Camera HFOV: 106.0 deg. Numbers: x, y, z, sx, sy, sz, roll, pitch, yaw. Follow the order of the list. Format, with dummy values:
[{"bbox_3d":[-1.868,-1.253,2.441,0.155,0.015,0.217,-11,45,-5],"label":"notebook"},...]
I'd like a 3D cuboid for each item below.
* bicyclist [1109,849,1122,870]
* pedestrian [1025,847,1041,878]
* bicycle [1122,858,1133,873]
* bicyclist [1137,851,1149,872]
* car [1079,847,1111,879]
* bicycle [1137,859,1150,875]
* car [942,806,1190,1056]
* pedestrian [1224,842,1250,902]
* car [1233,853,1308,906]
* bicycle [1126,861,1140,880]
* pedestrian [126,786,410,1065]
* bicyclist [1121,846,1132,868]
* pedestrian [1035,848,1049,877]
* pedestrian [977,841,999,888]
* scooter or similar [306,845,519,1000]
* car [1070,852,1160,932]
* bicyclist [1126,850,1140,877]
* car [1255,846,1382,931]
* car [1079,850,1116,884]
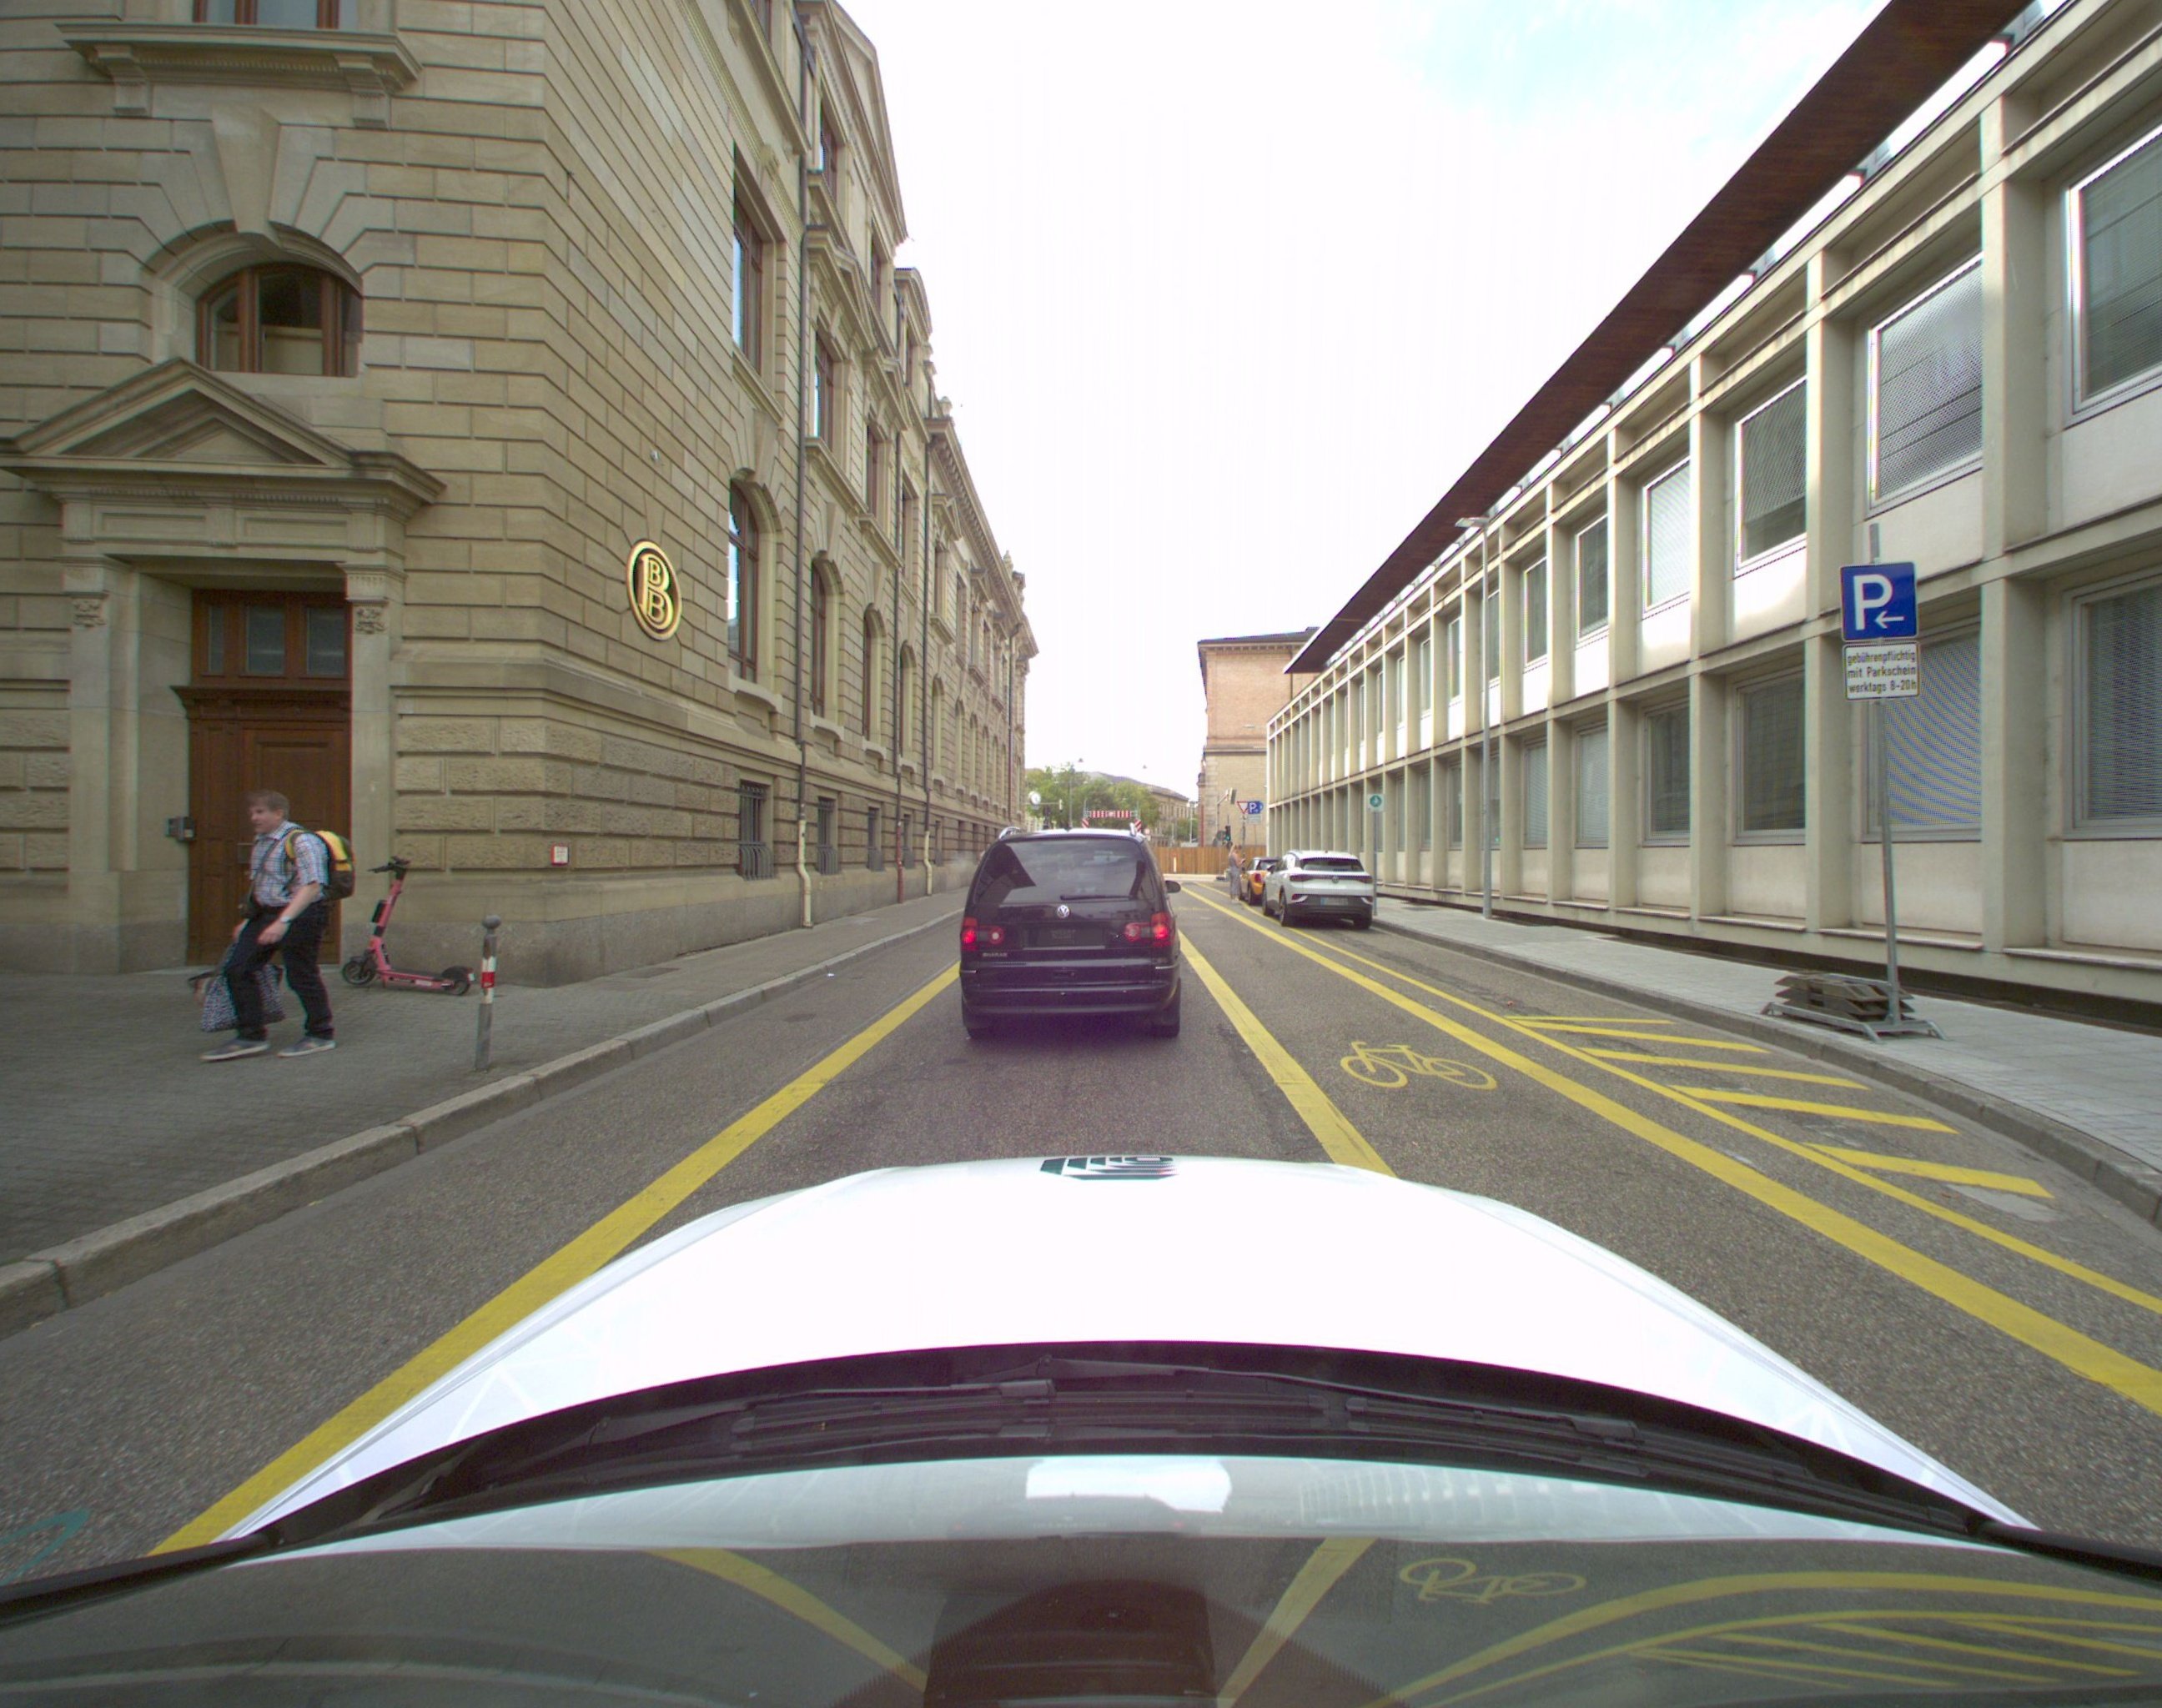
[{"bbox_3d":[2.324,0.382,54.639,0.735,1.377,0.826,0,-1,-9],"label":"bicyclist"},{"bbox_3d":[-2.880,0.506,48.824,0.789,1.819,1.048,2,-1,2],"label":"pedestrian"},{"bbox_3d":[3.250,0.818,57.516,0.732,1.009,2.069,0,-1,2],"label":"bicycle"},{"bbox_3d":[4.081,0.487,53.278,0.732,1.375,0.832,0,-1,1],"label":"bicyclist"},{"bbox_3d":[0.793,0.526,47.424,1.729,1.790,4.101,0,0,-1],"label":"car"},{"bbox_3d":[4.081,0.833,53.290,0.732,1.009,2.069,0,-1,2],"label":"bicycle"},{"bbox_3d":[0.051,0.577,7.945,1.781,1.790,4.108,-1,-1,5],"label":"car"},{"bbox_3d":[4.730,0.541,24.720,0.694,1.764,0.707,0,-1,5],"label":"pedestrian"},{"bbox_3d":[5.757,0.743,25.148,1.672,1.435,3.891,3,0,5],"label":"car"},{"bbox_3d":[2.851,0.883,44.749,0.732,1.009,2.069,0,-1,2],"label":"bicycle"},{"bbox_3d":[-5.454,0.450,5.534,1.022,1.720,0.819,2,-1,1],"label":"pedestrian"},{"bbox_3d":[3.222,0.226,57.463,0.732,1.555,0.896,0,-1,1],"label":"bicyclist"},{"bbox_3d":[-2.477,0.521,51.851,0.789,1.819,1.048,2,-1,2],"label":"pedestrian"},{"bbox_3d":[-3.724,0.425,32.732,0.661,1.819,1.048,2,-1,2],"label":"pedestrian"},{"bbox_3d":[-6.180,0.611,7.575,1.441,1.310,0.587,3,1,0],"label":"scooter or similar"},{"bbox_3d":[0.806,0.717,17.179,1.670,1.469,4.108,0,0,5],"label":"car"},{"bbox_3d":[2.848,0.502,44.711,0.732,1.478,0.885,0,-1,1],"label":"bicyclist"},{"bbox_3d":[5.233,0.708,18.533,1.851,1.605,4.518,3,0,5],"label":"car"},{"bbox_3d":[0.841,0.639,40.405,1.766,1.586,4.001,0,-1,2],"label":"car"}]
